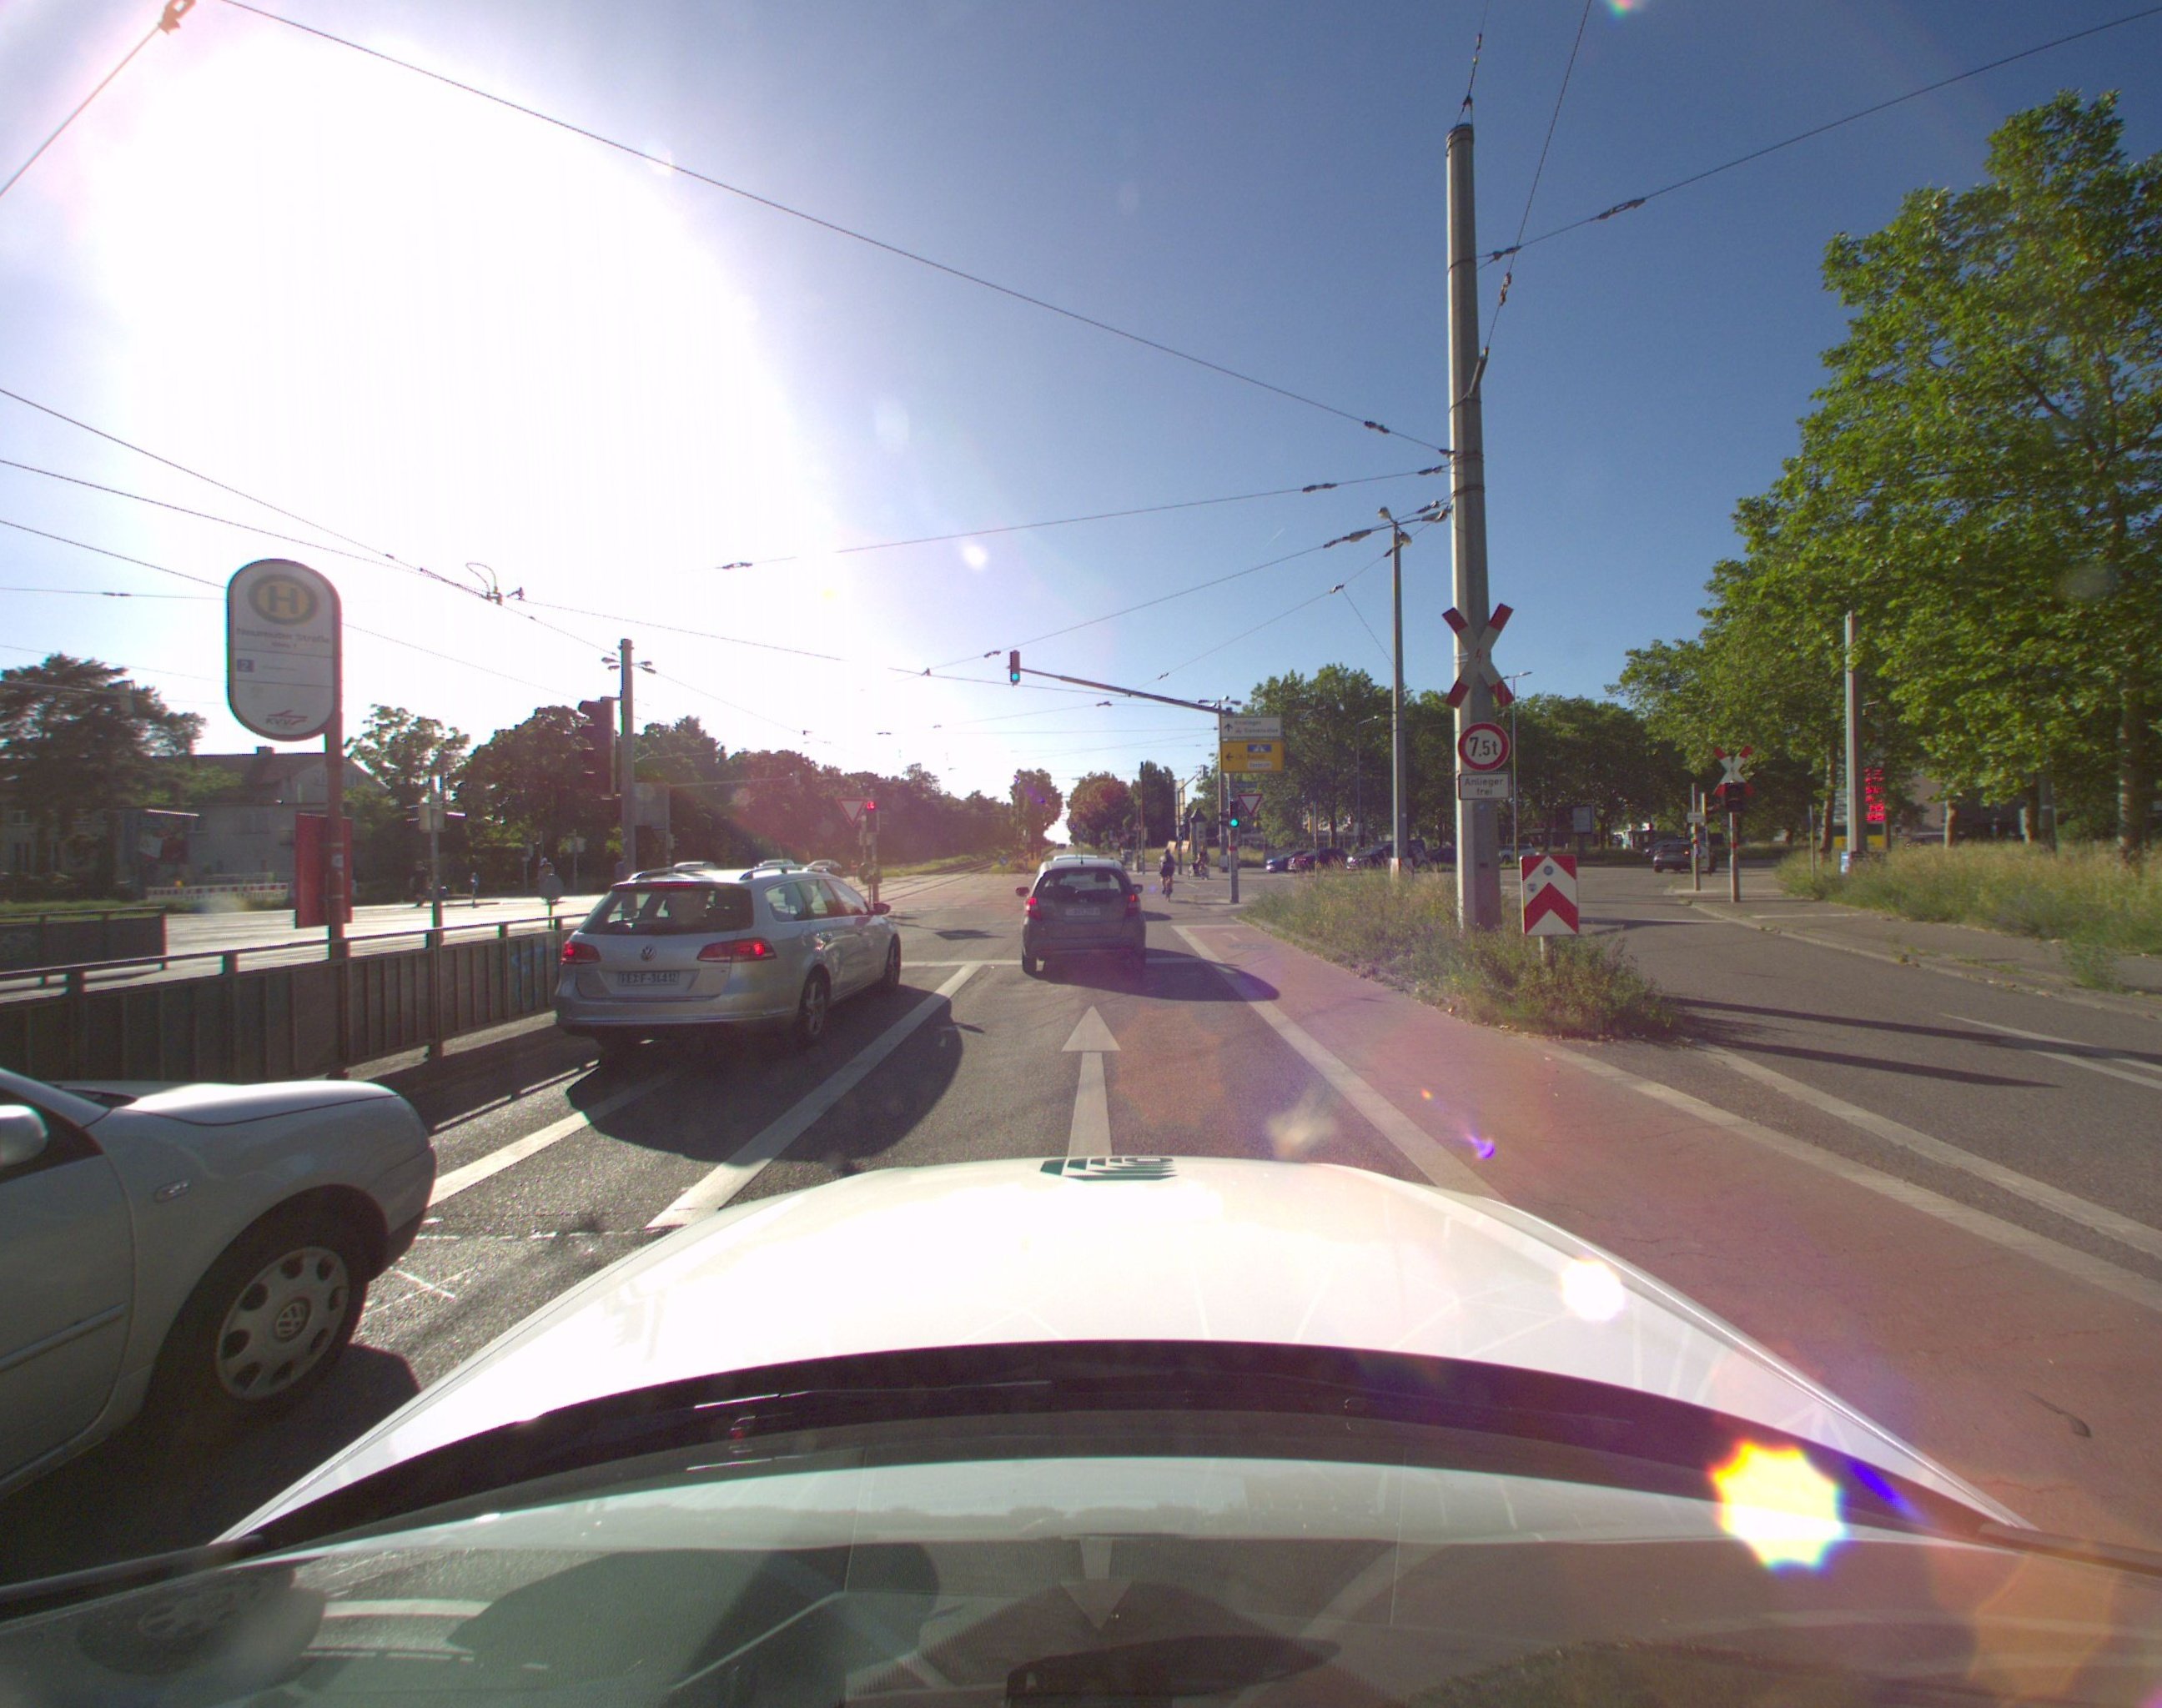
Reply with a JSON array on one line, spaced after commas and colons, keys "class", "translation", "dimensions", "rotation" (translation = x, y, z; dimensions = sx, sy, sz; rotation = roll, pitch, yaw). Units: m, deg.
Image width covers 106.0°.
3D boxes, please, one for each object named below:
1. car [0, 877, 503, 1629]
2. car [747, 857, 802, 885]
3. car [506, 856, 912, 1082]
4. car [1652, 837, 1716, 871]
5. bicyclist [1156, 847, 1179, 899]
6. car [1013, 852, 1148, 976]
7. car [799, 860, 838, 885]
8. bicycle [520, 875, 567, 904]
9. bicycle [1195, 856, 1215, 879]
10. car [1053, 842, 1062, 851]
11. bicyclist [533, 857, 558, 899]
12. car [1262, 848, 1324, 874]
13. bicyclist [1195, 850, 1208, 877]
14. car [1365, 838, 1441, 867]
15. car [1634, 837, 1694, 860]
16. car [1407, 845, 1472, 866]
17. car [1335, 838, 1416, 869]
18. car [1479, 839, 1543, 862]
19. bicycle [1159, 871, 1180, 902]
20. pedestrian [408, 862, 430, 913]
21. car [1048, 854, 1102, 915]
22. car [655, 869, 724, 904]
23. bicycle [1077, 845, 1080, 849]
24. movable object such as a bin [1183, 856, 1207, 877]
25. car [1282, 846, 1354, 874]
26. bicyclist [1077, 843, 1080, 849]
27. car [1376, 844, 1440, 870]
[{"class": "car", "translation": [-2.963, 0.828, 1.323], "dimensions": [1.576, 1.468, 3.414], "rotation": [-1, 0, 0]}, {"class": "car", "translation": [-18.873, 0.995, 50.390], "dimensions": [1.809, 1.596, 4.687], "rotation": [-1, 0, -3]}, {"class": "car", "translation": [-3.065, 0.810, 7.926], "dimensions": [1.871, 1.527, 4.420], "rotation": [-2, 0, 0]}, {"class": "car", "translation": [31.947, -0.001, 43.096], "dimensions": [3.791, 1.704, 1.806], "rotation": [-1, 0, -39]}, {"class": "bicyclist", "translation": [2.814, 0.614, 26.654], "dimensions": [0.613, 1.679, 0.933], "rotation": [-2, 0, 0]}, {"class": "car", "translation": [0.048, 0.755, 12.089], "dimensions": [1.664, 1.515, 3.675], "rotation": [-2, 0, 2]}, {"class": "car", "translation": [-19.062, 1.317, 59.284], "dimensions": [1.789, 1.687, 3.994], "rotation": [-1, 0, -5]}, {"class": "bicycle", "translation": [-21.111, 1.396, 32.007], "dimensions": [0.505, 1.042, 1.949], "rotation": [-1, 0, 1]}, {"class": "bicycle", "translation": [6.313, 0.663, 41.491], "dimensions": [0.466, 1.119, 1.815], "rotation": [-1, 0, -8]}, {"class": "car", "translation": [-5.563, -1.725, 194.012], "dimensions": [1.987, 2.013, 4.000], "rotation": [-1, 0, 0]}, {"class": "bicyclist", "translation": [-21.117, 0.930, 32.119], "dimensions": [0.488, 1.608, 0.648], "rotation": [-1, 0, 1]}, {"class": "car", "translation": [14.327, 0.458, 54.930], "dimensions": [3.869, 1.600, 1.698], "rotation": [-1, 0, -28]}, {"class": "bicyclist", "translation": [6.247, 0.490, 42.168], "dimensions": [0.509, 1.340, 0.563], "rotation": [-1, 0, -8]}, {"class": "car", "translation": [24.672, -0.137, 62.446], "dimensions": [5.108, 2.070, 2.121], "rotation": [-1, 0, -13]}, {"class": "car", "translation": [43.224, -0.399, 60.362], "dimensions": [4.008, 1.618, 1.983], "rotation": [-1, 0, -27]}, {"class": "car", "translation": [26.451, 0.120, 60.086], "dimensions": [4.579, 1.408, 1.918], "rotation": [-1, 0, -26]}, {"class": "car", "translation": [17.427, -0.027, 48.159], "dimensions": [4.505, 1.711, 1.904], "rotation": [-1, 0, -27]}, {"class": "car", "translation": [33.273, -0.240, 63.000], "dimensions": [4.786, 1.682, 1.892], "rotation": [0, -1, -27]}, {"class": "bicycle", "translation": [2.874, 1.043, 26.604], "dimensions": [0.522, 0.923, 2.090], "rotation": [-2, 0, 2]}, {"class": "pedestrian", "translation": [-26.046, 1.313, 32.030], "dimensions": [0.615, 1.948, 0.767], "rotation": [-1, 0, -43]}, {"class": "car", "translation": [-0.150, 0.790, 22.337], "dimensions": [1.347, 1.527, 3.123], "rotation": [-2, 0, 0]}, {"class": "car", "translation": [-18.192, 1.478, 37.991], "dimensions": [1.680, 1.458, 3.697], "rotation": [-1, 0, -5]}, {"class": "bicycle", "translation": [-0.645, -1.766, 212.039], "dimensions": [0.815, 1.048, 2.506], "rotation": [0, -1, 0]}, {"class": "movable object such as a bin", "translation": [6.078, 0.661, 43.489], "dimensions": [0.908, 1.068, 1.313], "rotation": [-1, 0, -9]}, {"class": "car", "translation": [14.755, 0.372, 50.728], "dimensions": [4.095, 1.600, 1.802], "rotation": [-2, 0, -24]}, {"class": "bicyclist", "translation": [-0.638, -2.141, 212.064], "dimensions": [0.815, 1.524, 0.966], "rotation": [0, -1, 0]}, {"class": "car", "translation": [21.672, 0.175, 54.008], "dimensions": [3.864, 1.600, 1.700], "rotation": [-1, 0, -24]}]
